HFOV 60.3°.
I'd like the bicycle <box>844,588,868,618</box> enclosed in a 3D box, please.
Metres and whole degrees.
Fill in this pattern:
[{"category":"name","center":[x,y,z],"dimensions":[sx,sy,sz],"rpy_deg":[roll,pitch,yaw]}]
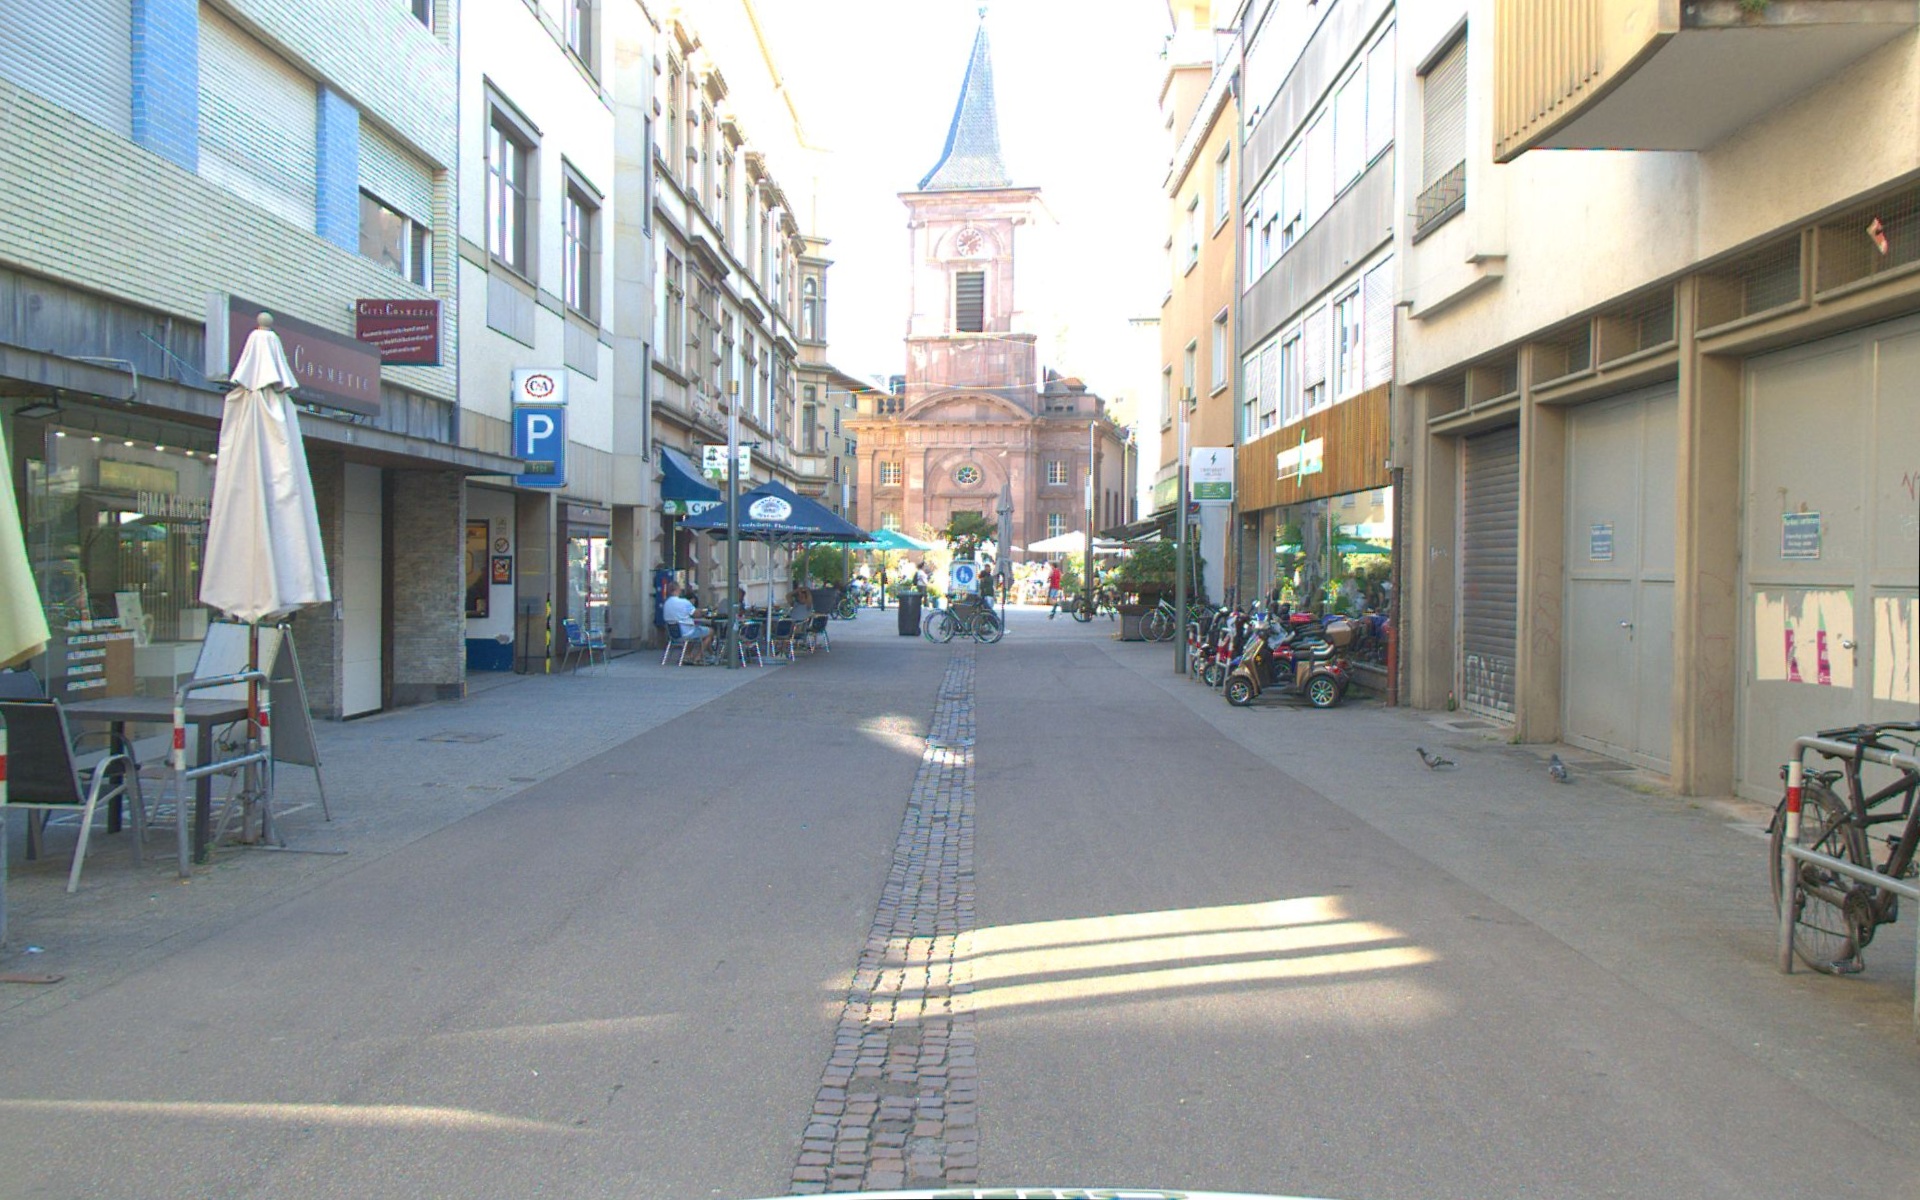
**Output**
[{"category":"bicycle","center":[-3.094,0.072,49.251],"dimensions":[0.447,0.864,2.148],"rpy_deg":[0,1,4]}]

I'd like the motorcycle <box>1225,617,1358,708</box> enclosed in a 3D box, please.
[{"category":"motorcycle","center":[3.994,0.742,19.931],"dimensions":[1.531,1.060,0.373],"rpy_deg":[0,0,19]}]

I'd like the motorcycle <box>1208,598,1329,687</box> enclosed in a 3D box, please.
[{"category":"motorcycle","center":[4.279,0.581,22.944],"dimensions":[1.590,1.195,0.481],"rpy_deg":[0,0,19]}]

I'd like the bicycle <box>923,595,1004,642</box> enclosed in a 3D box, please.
[{"category":"bicycle","center":[0.077,0.405,36.962],"dimensions":[1.787,1.022,0.381],"rpy_deg":[0,1,-3]}]

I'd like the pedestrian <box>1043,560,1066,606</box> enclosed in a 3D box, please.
[{"category":"pedestrian","center":[3.481,-0.623,60.999],"dimensions":[0.605,1.669,0.650],"rpy_deg":[0,1,-33]}]

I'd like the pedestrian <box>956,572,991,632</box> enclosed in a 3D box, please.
[{"category":"pedestrian","center":[0.338,0.049,41.481],"dimensions":[0.865,1.489,0.731],"rpy_deg":[0,1,1]}]

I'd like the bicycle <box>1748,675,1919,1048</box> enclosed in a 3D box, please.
[{"category":"bicycle","center":[3.412,0.888,5.997],"dimensions":[0.437,1.160,1.711],"rpy_deg":[1,0,6]}]

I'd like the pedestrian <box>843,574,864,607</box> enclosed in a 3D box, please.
[{"category":"pedestrian","center":[-4.091,-0.357,63.475],"dimensions":[0.685,1.239,0.720],"rpy_deg":[1,1,6]}]

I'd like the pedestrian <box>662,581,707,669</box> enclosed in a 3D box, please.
[{"category":"pedestrian","center":[-4.438,0.393,26.602],"dimensions":[0.695,1.392,0.718],"rpy_deg":[0,1,-12]}]

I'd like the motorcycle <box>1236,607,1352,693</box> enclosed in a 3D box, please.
[{"category":"motorcycle","center":[4.382,0.641,21.723],"dimensions":[1.452,1.094,0.412],"rpy_deg":[0,0,19]}]

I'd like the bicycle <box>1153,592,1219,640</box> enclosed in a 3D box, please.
[{"category":"bicycle","center":[4.978,0.353,36.465],"dimensions":[1.432,1.022,0.573],"rpy_deg":[1,1,7]}]

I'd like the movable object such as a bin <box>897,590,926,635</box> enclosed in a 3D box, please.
[{"category":"movable object such as a bin","center":[-1.176,0.303,40.238],"dimensions":[0.707,1.093,0.374],"rpy_deg":[0,1,-1]}]

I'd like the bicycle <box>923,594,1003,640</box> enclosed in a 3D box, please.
[{"category":"bicycle","center":[0.059,0.388,37.362],"dimensions":[1.787,1.022,0.381],"rpy_deg":[0,1,-3]}]

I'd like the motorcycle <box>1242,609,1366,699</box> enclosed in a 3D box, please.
[{"category":"motorcycle","center":[4.302,0.661,20.699],"dimensions":[1.485,1.094,0.412],"rpy_deg":[0,0,19]}]

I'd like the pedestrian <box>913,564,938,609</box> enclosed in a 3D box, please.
[{"category":"pedestrian","center":[-1.231,-0.496,58.582],"dimensions":[0.767,1.583,0.535],"rpy_deg":[1,1,13]}]

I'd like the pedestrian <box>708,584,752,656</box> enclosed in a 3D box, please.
[{"category":"pedestrian","center":[-4.096,0.351,29.475],"dimensions":[0.750,1.254,0.830],"rpy_deg":[0,1,-8]}]

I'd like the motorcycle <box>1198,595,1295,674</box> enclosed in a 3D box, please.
[{"category":"motorcycle","center":[4.443,0.528,25.620],"dimensions":[1.452,1.202,0.412],"rpy_deg":[0,0,16]}]

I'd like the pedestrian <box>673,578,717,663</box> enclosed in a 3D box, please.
[{"category":"pedestrian","center":[-4.432,0.331,27.642],"dimensions":[0.705,1.392,0.708],"rpy_deg":[0,1,-12]}]

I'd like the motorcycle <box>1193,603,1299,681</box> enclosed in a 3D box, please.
[{"category":"motorcycle","center":[4.097,0.591,23.670],"dimensions":[1.452,1.094,0.412],"rpy_deg":[0,0,19]}]

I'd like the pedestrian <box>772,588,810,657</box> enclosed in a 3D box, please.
[{"category":"pedestrian","center":[-3.088,0.406,30.152],"dimensions":[0.679,1.236,0.582],"rpy_deg":[0,1,-8]}]

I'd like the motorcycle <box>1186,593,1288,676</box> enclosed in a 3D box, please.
[{"category":"motorcycle","center":[4.102,0.500,24.495],"dimensions":[1.452,1.202,0.412],"rpy_deg":[0,0,16]}]

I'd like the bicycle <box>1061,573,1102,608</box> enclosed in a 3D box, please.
[{"category":"bicycle","center":[4.608,-0.356,62.704],"dimensions":[1.568,1.330,0.362],"rpy_deg":[0,1,-29]}]
